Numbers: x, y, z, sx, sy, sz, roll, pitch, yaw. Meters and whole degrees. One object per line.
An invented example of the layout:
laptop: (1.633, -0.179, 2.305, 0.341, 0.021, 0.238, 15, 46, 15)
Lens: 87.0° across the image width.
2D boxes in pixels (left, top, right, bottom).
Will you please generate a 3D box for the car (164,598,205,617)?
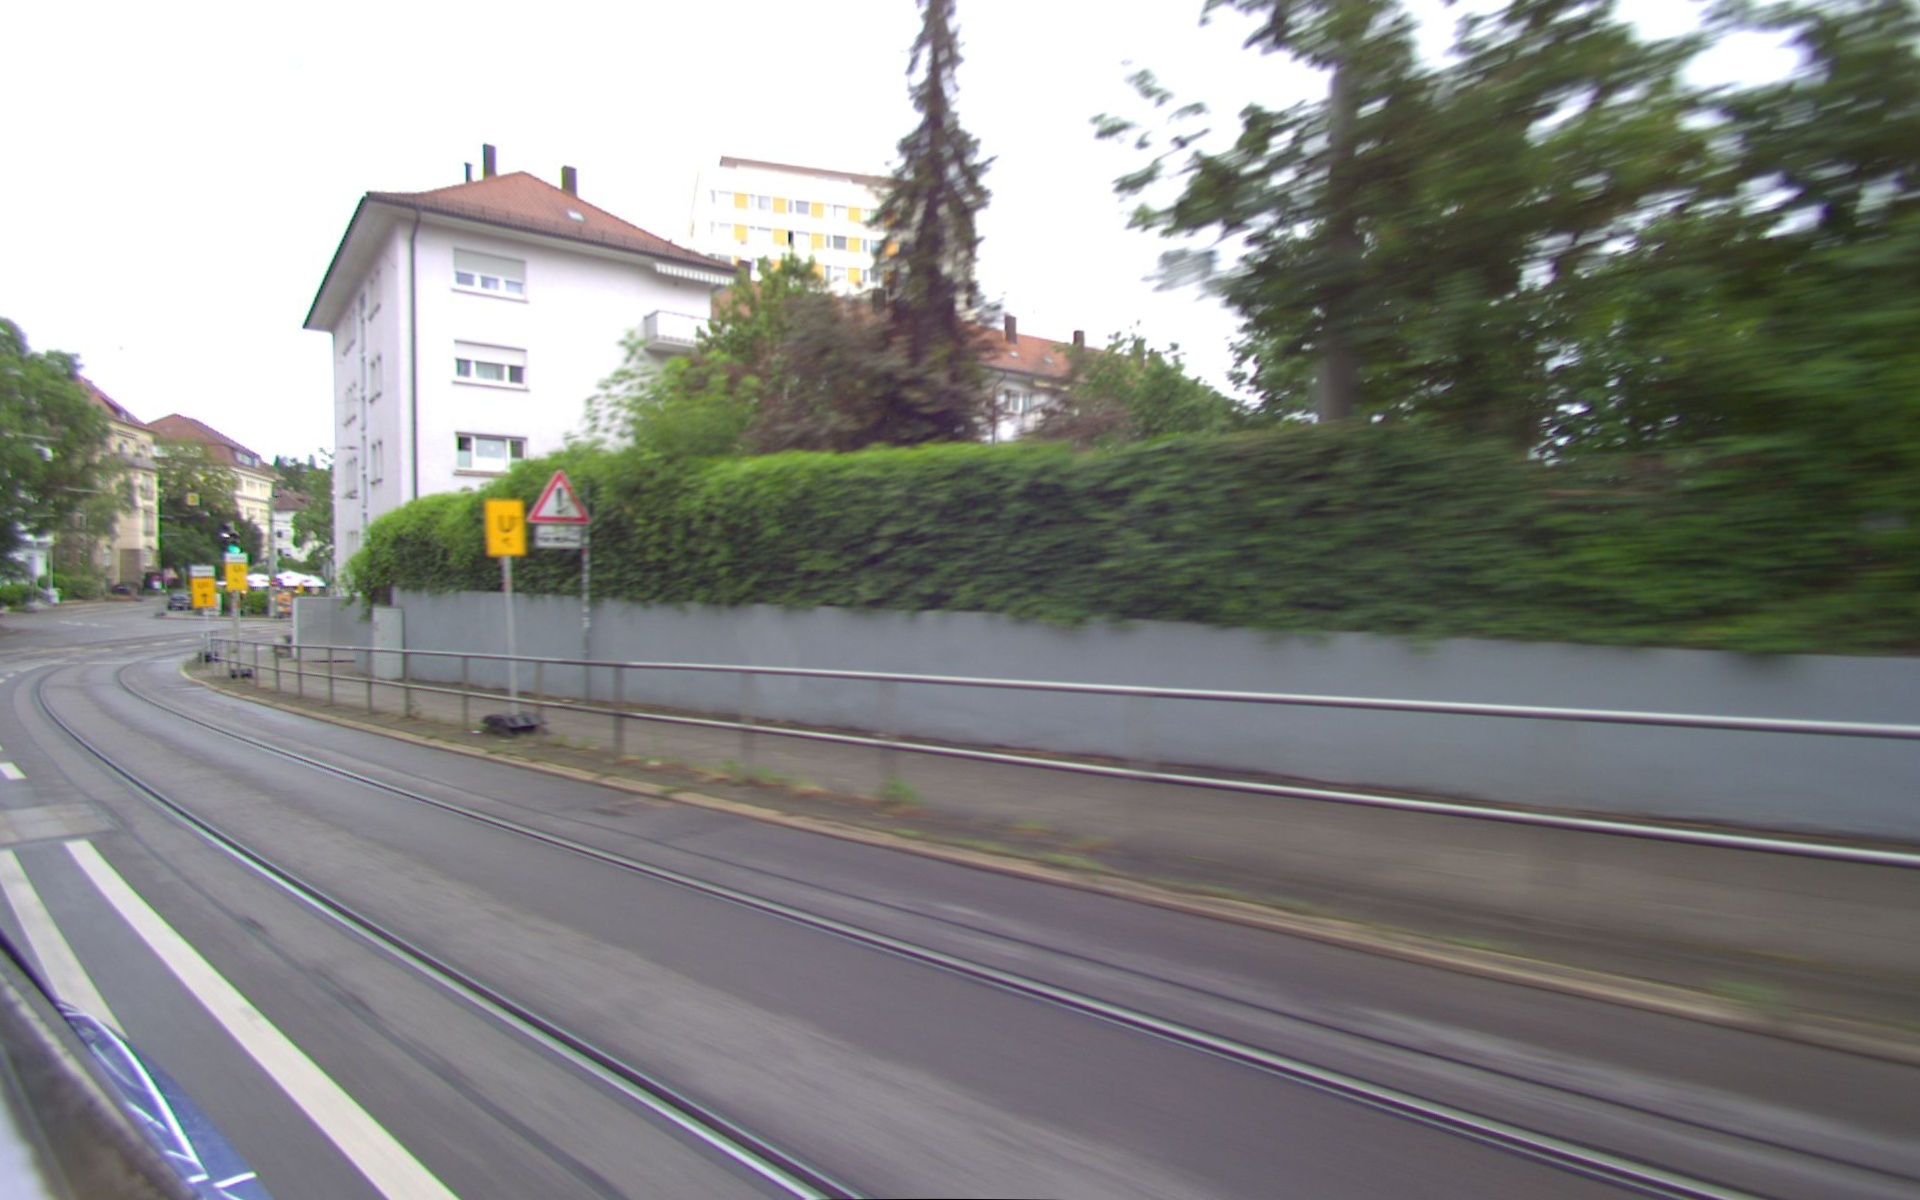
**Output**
car: (-64.174, 0.618, 83.766, 1.664, 1.453, 3.817, 1, 0, -21)

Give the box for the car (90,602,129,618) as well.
car: (-78.990, 0.928, 94.031, 1.573, 1.351, 3.645, 0, -2, -18)
